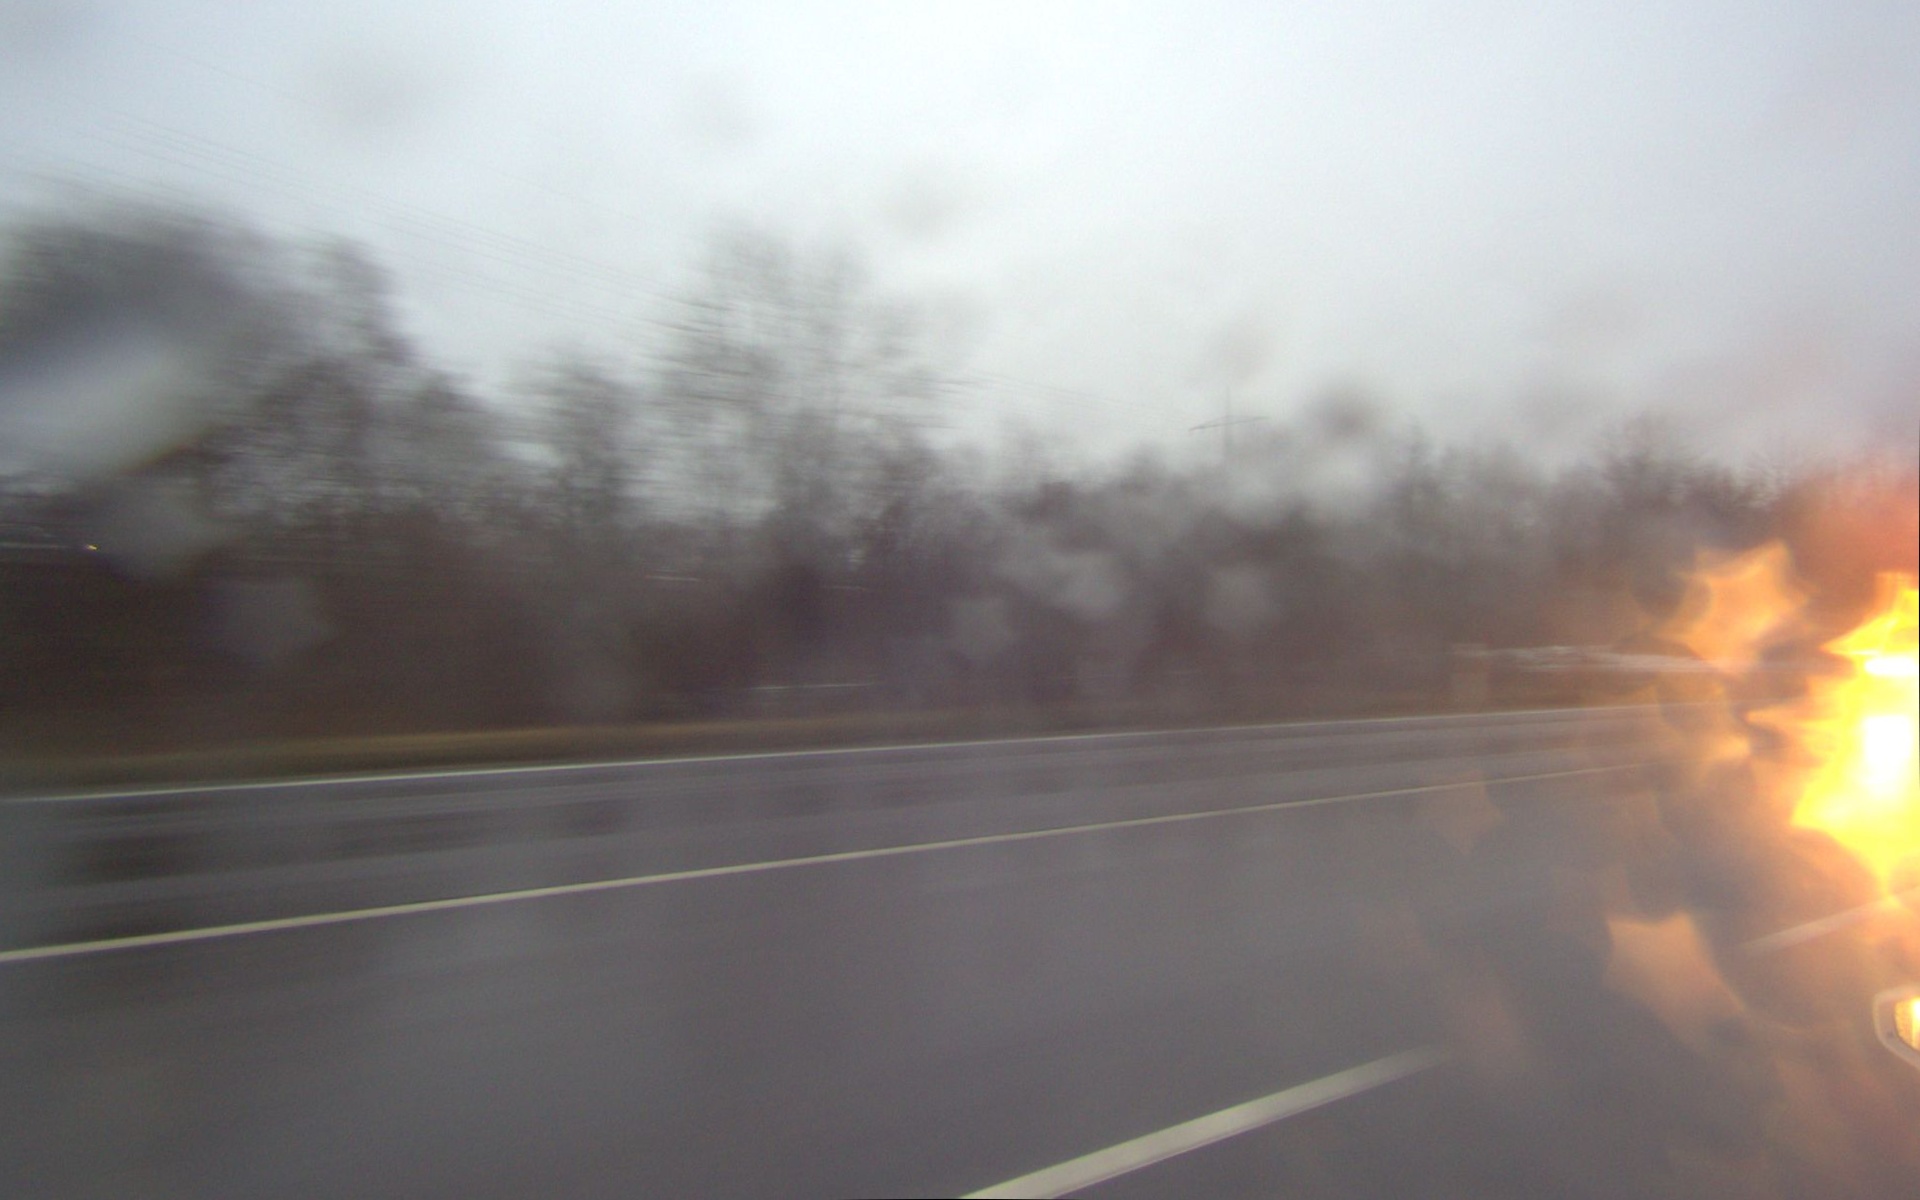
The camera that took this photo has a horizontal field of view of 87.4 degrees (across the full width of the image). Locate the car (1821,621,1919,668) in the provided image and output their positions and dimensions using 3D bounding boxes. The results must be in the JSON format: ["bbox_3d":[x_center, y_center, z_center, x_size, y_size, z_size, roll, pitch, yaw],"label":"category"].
[{"bbox_3d":[41.194,1.977,44.095,4.719,1.779,1.956,3,2,24],"label":"car"}]

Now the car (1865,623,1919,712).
[{"bbox_3d":[19.085,1.273,18.989,4.328,1.577,1.638,2,0,-30],"label":"car"}]
